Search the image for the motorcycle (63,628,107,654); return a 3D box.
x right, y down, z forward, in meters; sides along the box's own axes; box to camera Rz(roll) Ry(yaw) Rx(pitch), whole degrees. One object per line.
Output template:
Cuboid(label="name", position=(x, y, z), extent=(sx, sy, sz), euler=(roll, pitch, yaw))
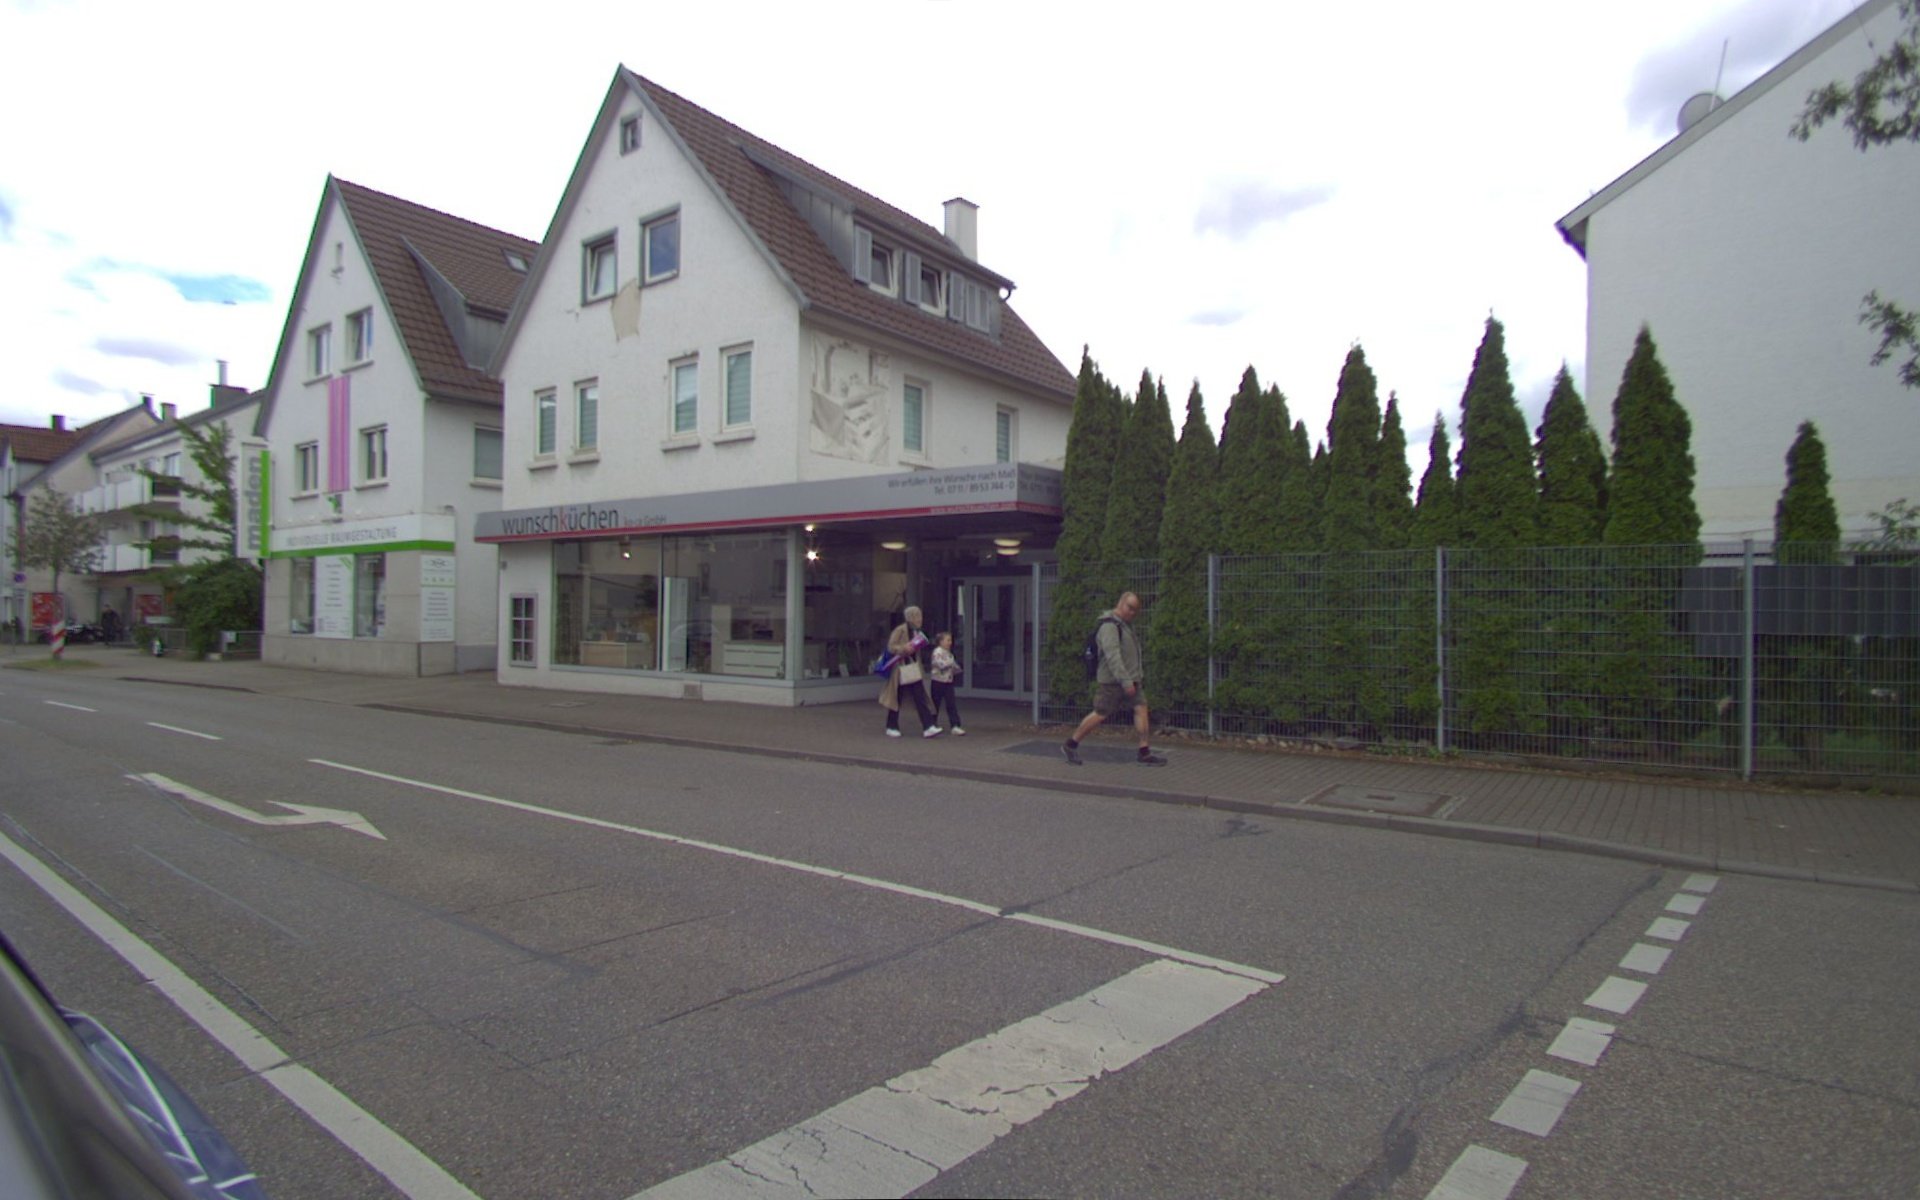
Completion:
Cuboid(label="motorcycle", position=(-41.053, 1.914, 47.495), extent=(0.589, 1.114, 1.495), euler=(-1, 0, 44))

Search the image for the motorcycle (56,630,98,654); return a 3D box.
Cuboid(label="motorcycle", position=(-40.758, 1.946, 46.718), extent=(0.524, 1.030, 1.412), euler=(-1, 0, 38))

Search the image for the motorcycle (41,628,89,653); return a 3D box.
Cuboid(label="motorcycle", position=(-42.712, 1.939, 48.305), extent=(0.558, 1.114, 1.658), euler=(-1, 0, 37))

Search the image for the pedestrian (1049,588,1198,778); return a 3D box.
Cuboid(label="pedestrian", position=(1.636, 0.779, 10.141), extent=(1.228, 1.767, 0.813), euler=(-1, -1, 39))

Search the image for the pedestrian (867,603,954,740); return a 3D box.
Cuboid(label="pedestrian", position=(-0.606, 0.849, 12.455), extent=(0.863, 1.617, 0.636), euler=(-1, 0, 28))

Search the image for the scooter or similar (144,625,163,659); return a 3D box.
Cuboid(label="scooter or similar", position=(-27.758, 1.430, 34.847), extent=(0.458, 1.132, 1.831), euler=(0, -1, -37))

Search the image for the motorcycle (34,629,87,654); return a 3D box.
Cuboid(label="motorcycle", position=(-42.260, 1.932, 47.560), extent=(0.504, 1.114, 1.812), euler=(-1, 0, 37))

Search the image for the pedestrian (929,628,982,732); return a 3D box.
Cuboid(label="pedestrian", position=(-0.059, 0.993, 12.811), extent=(0.548, 1.271, 0.379), euler=(-1, 0, 28))
